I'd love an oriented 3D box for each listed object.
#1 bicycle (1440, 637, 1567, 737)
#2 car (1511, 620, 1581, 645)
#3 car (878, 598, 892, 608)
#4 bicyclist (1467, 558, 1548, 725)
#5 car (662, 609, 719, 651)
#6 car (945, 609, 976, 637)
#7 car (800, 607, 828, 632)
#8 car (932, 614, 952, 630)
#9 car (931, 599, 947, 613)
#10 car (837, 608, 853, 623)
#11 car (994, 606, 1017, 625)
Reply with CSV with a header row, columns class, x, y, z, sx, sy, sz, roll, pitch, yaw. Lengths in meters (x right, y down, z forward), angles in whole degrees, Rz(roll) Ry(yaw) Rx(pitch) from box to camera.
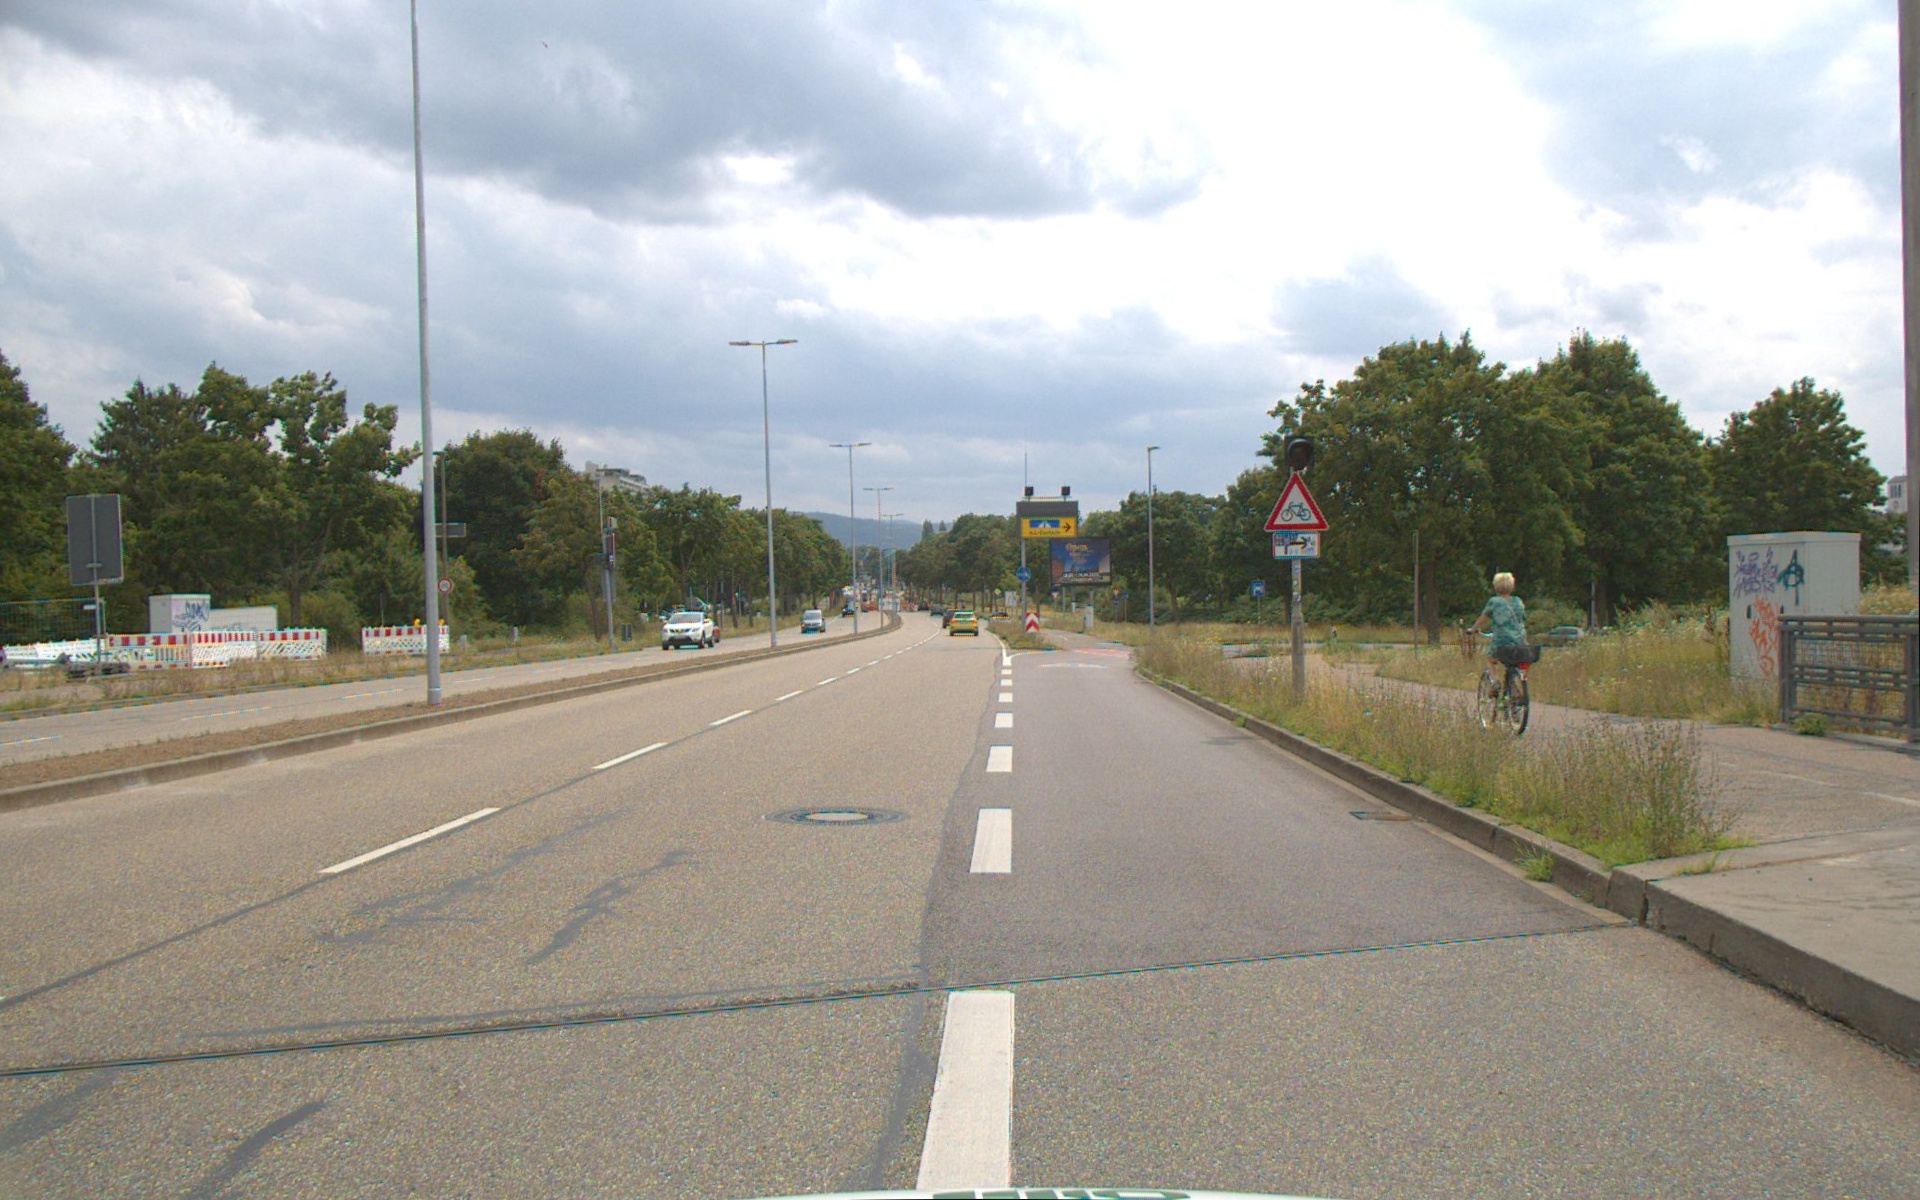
class,x,y,z,sx,sy,sz,roll,pitch,yaw
bicycle,5.723,0.890,17.531,0.610,0.904,2.154,-1,1,-1
car,38.099,2.111,107.516,3.928,1.489,1.762,0,1,42
car,-11.688,0.390,257.964,1.953,1.456,4.688,-2,0,0
bicyclist,5.708,0.421,17.263,0.609,1.695,0.669,-1,1,-1
car,-11.727,1.274,72.257,1.659,1.657,4.385,-1,1,1
car,0.014,1.383,101.775,1.757,1.589,3.999,-1,1,-1
car,-11.711,1.576,132.805,1.863,1.841,4.540,-1,1,0
car,-1.594,1.883,144.627,1.633,1.292,3.999,-1,1,-1
car,-2.800,0.792,224.027,2.161,1.713,4.000,-1,1,0
car,-15.693,2.147,226.346,1.953,1.843,4.797,-2,1,-1
car,4.323,1.463,157.327,1.973,1.699,3.999,-1,1,-1
